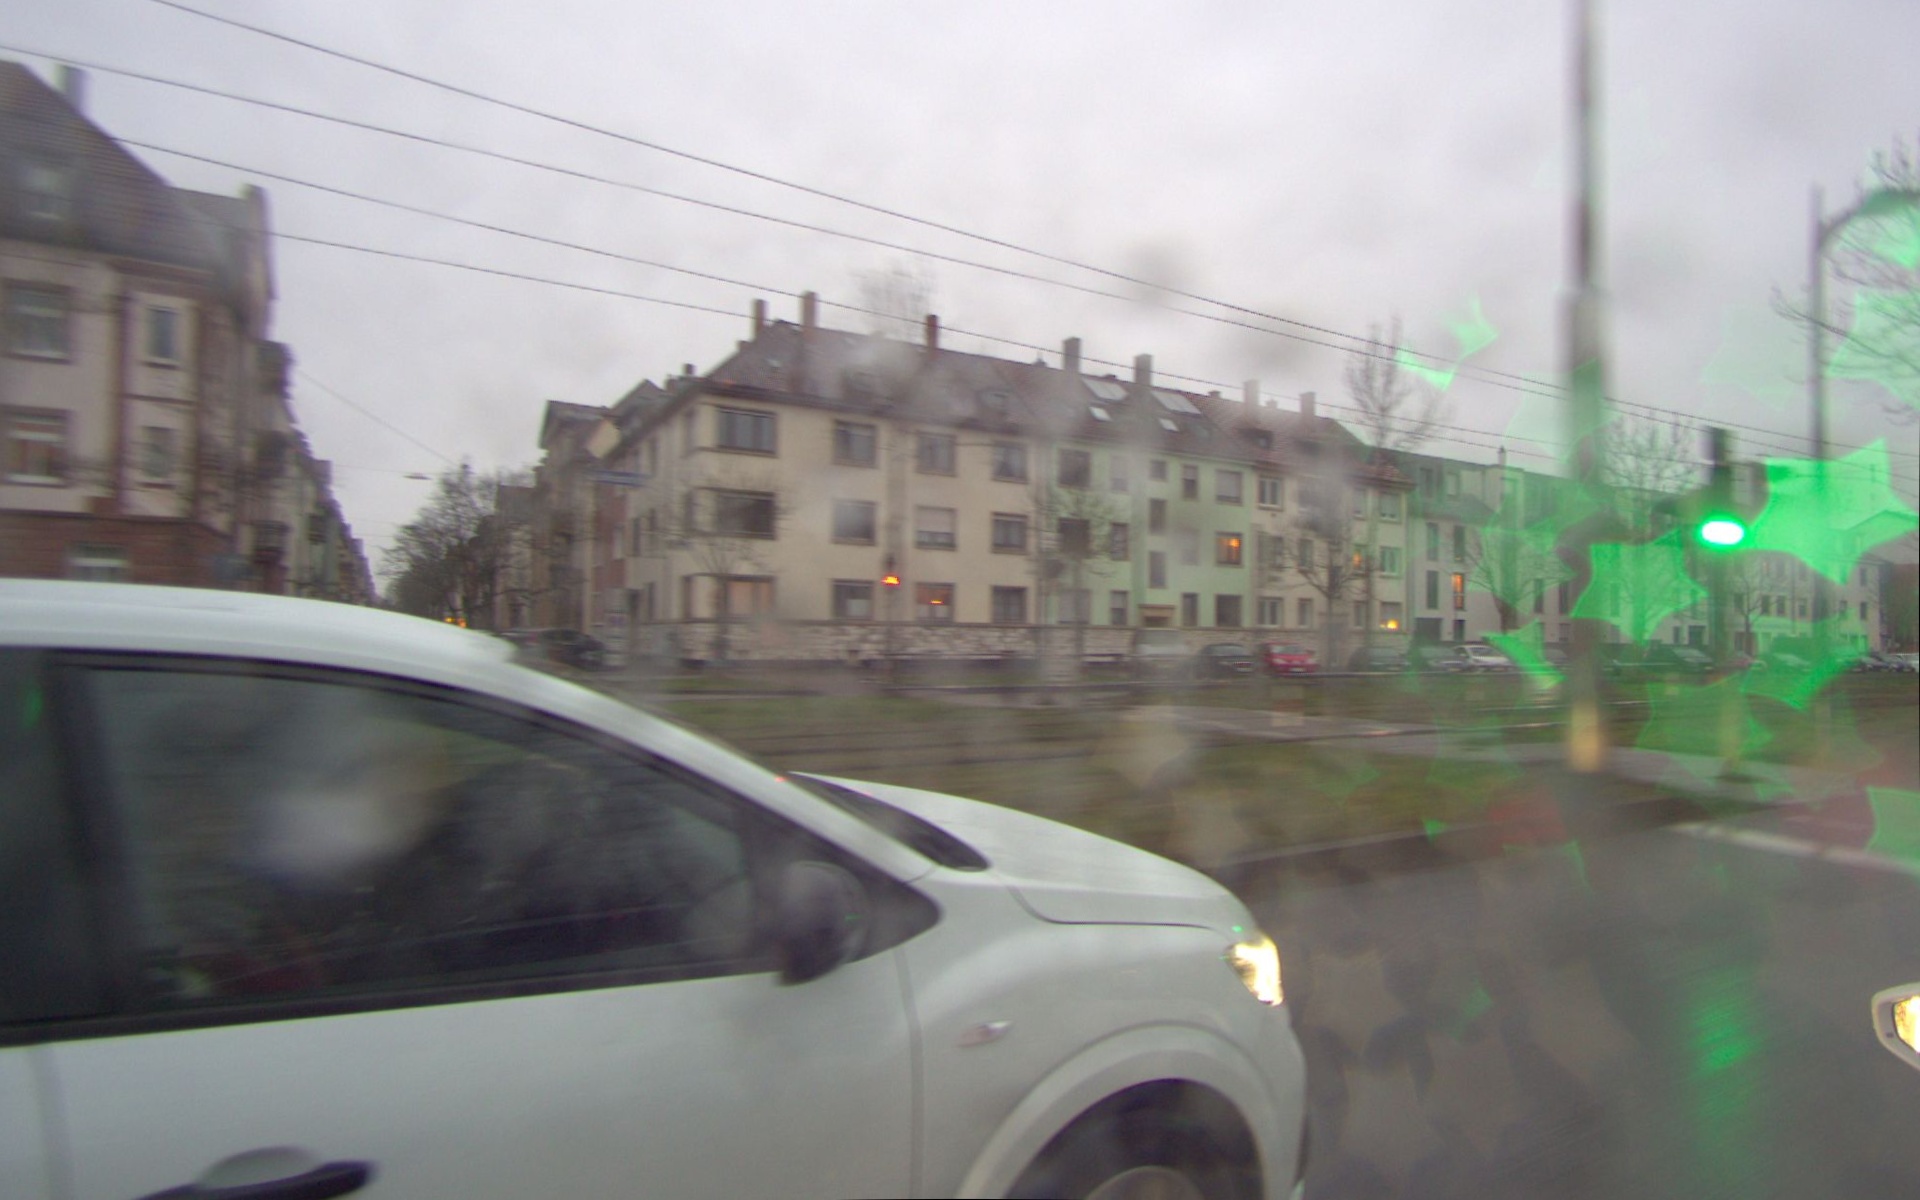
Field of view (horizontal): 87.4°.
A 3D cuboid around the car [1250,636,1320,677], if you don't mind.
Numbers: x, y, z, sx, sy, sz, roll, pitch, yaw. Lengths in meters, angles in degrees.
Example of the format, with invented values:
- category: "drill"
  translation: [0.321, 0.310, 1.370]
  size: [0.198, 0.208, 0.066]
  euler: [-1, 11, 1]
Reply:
- category: "car"
  translation: [12.587, 2.161, 39.061]
  size: [1.653, 1.326, 3.581]
  euler: [2, 0, 2]

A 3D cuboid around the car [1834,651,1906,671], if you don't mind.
- category: "car"
  translation: [63.853, 4.261, 70.541]
  size: [1.845, 1.216, 3.541]
  euler: [2, 0, 1]

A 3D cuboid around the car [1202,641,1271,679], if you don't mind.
- category: "car"
  translation: [10.313, 2.225, 37.723]
  size: [1.702, 1.156, 3.573]
  euler: [2, 0, 2]

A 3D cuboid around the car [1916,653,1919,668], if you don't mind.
- category: "car"
  translation: [75.446, 4.722, 77.056]
  size: [1.369, 1.162, 3.045]
  euler: [2, 0, 1]

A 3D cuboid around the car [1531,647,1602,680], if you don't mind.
- category: "car"
  translation: [29.439, 3.079, 48.825]
  size: [1.703, 1.354, 2.937]
  euler: [2, 0, 2]

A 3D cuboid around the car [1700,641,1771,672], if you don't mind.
- category: "car"
  translation: [45.436, 3.278, 58.923]
  size: [1.707, 1.610, 3.852]
  euler: [2, 0, 11]

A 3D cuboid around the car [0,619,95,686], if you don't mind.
- category: "car"
  translation: [-20.100, 1.089, 20.089]
  size: [1.677, 1.176, 4.107]
  euler: [4, 1, 9]

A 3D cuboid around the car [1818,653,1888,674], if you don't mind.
- category: "car"
  translation: [61.451, 4.343, 69.164]
  size: [1.713, 1.228, 3.541]
  euler: [2, 0, 1]

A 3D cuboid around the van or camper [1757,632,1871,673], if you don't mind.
- category: "van or camper"
  translation: [56.335, 3.415, 66.497]
  size: [1.960, 2.391, 6.884]
  euler: [2, 0, 4]

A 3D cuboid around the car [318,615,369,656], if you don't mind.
- category: "car"
  translation: [-28.544, 1.607, 46.611]
  size: [1.781, 1.731, 3.680]
  euler: [2, 0, -28]

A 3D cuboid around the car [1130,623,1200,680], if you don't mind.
- category: "car"
  translation: [7.270, 1.771, 36.000]
  size: [1.796, 1.746, 4.660]
  euler: [2, 0, 4]

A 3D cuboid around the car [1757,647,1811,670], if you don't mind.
- category: "car"
  translation: [51.145, 3.614, 62.368]
  size: [1.360, 1.220, 2.890]
  euler: [2, 0, 11]

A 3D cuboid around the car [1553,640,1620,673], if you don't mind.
- category: "car"
  translation: [31.608, 2.820, 50.758]
  size: [1.636, 1.440, 3.387]
  euler: [2, 0, 8]

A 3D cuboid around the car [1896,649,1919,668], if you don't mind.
- category: "car"
  translation: [73.061, 4.466, 75.528]
  size: [1.737, 1.396, 4.126]
  euler: [2, 0, 7]

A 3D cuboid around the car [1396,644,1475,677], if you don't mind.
- category: "car"
  translation: [20.590, 2.598, 43.639]
  size: [1.703, 1.188, 3.822]
  euler: [2, 0, 2]

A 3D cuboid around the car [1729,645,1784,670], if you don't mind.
- category: "car"
  translation: [49.011, 3.522, 61.896]
  size: [1.360, 1.320, 3.099]
  euler: [2, 0, 11]

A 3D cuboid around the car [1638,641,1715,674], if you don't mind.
- category: "car"
  translation: [39.703, 3.161, 55.771]
  size: [1.636, 1.561, 4.165]
  euler: [2, 0, 6]

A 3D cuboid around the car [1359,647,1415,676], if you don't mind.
- category: "car"
  translation: [17.903, 2.577, 42.194]
  size: [1.408, 1.062, 2.393]
  euler: [1, 0, 2]

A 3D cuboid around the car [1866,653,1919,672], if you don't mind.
- category: "car"
  translation: [67.219, 4.453, 71.906]
  size: [1.658, 1.162, 3.419]
  euler: [2, 0, 1]

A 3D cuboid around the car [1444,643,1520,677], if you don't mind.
- category: "car"
  translation: [23.408, 2.680, 45.211]
  size: [1.702, 1.262, 3.846]
  euler: [2, 0, 6]

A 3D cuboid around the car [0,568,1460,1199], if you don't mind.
- category: "car"
  translation: [-0.999, 0.721, 1.859]
  size: [3.959, 1.494, 1.678]
  euler: [2, 0, -33]
